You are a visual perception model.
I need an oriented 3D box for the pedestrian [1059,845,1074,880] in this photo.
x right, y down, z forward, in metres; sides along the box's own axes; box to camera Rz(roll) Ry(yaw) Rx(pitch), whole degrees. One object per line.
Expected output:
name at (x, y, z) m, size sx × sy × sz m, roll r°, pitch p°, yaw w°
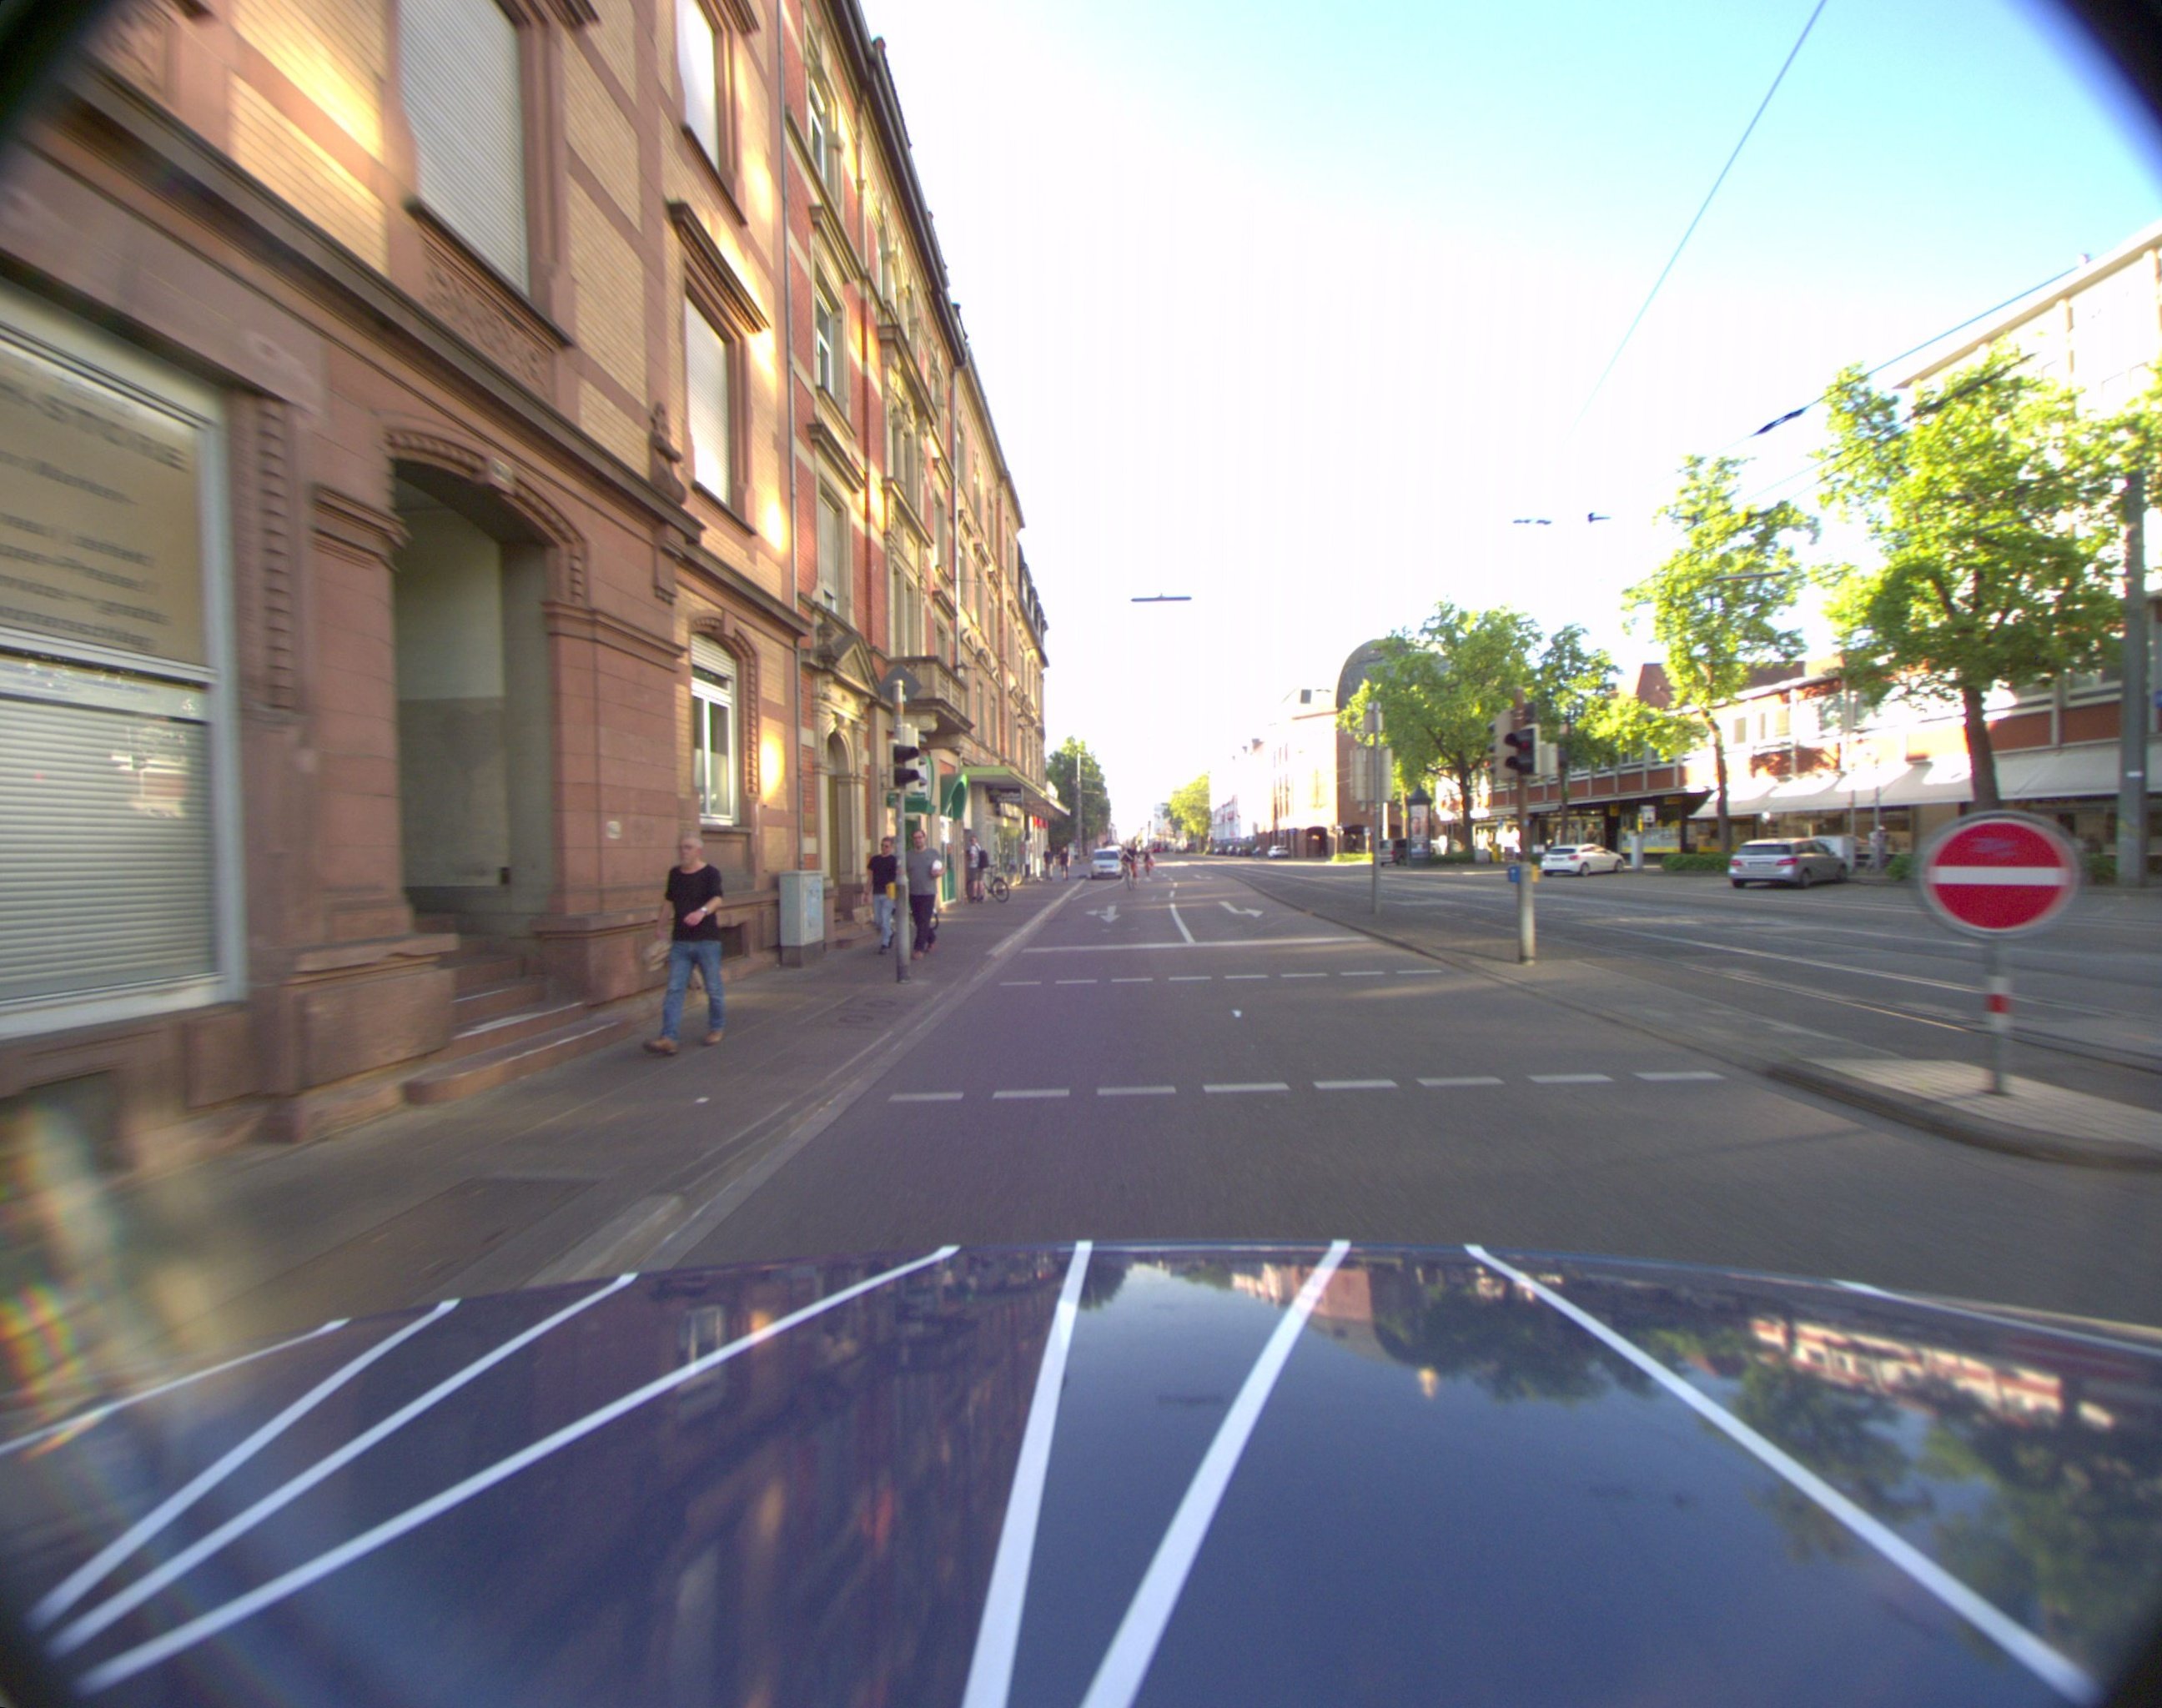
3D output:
pedestrian at (-0.719, 0.403, 37.632) m, size 0.700 × 1.713 × 0.502 m, roll 1°, pitch 1°, yaw 5°

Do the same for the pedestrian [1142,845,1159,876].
pedestrian at (3.837, 0.349, 41.870) m, size 0.849 × 1.652 × 0.850 m, roll -1°, pitch 1°, yaw 7°

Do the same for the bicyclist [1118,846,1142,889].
bicyclist at (1.958, 0.516, 29.996) m, size 0.885 × 1.651 × 0.804 m, roll -1°, pitch 1°, yaw 6°

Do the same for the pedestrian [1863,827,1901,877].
pedestrian at (28.636, -0.068, 27.189) m, size 0.635 × 1.759 × 0.769 m, roll 0°, pitch 2°, yaw 19°

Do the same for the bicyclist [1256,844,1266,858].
bicyclist at (18.906, -0.284, 79.737) m, size 0.674 × 1.414 × 0.761 m, roll -2°, pitch 2°, yaw -43°

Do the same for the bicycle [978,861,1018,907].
bicycle at (-2.499, 0.866, 22.671) m, size 0.669 × 1.246 × 1.891 m, roll -2°, pitch 1°, yaw -22°

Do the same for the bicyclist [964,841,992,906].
bicyclist at (-3.050, 0.564, 22.416) m, size 0.600 × 1.871 × 0.742 m, roll -2°, pitch 1°, yaw -22°

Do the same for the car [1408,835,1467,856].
car at (35.752, -0.875, 76.258) m, size 4.982 × 2.002 × 2.000 m, roll -1°, pitch 1°, yaw 1°

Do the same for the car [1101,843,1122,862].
car at (2.783, -0.155, 68.474) m, size 1.670 × 1.674 × 4.001 m, roll -1°, pitch 1°, yaw 5°

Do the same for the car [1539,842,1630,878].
car at (23.275, 0.259, 35.135) m, size 4.005 × 1.466 × 1.794 m, roll -3°, pitch 1°, yaw -28°

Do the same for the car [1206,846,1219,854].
car at (27.764, -0.873, 160.425) m, size 1.964 × 1.594 × 3.999 m, roll -2°, pitch 1°, yaw 1°

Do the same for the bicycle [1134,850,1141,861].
bicycle at (6.038, 0.168, 81.790) m, size 0.646 × 1.176 × 1.804 m, roll -1°, pitch 1°, yaw 1°

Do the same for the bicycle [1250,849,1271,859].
bicycle at (18.849, 0.007, 79.816) m, size 0.674 × 1.085 × 2.033 m, roll -2°, pitch 1°, yaw -43°

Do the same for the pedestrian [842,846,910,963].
pedestrian at (-3.088, 0.732, 11.501) m, size 0.777 × 1.713 × 0.754 m, roll 0°, pitch 1°, yaw 4°

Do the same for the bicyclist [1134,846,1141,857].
bicyclist at (6.090, -0.284, 81.621) m, size 0.646 × 1.176 × 0.723 m, roll -1°, pitch 1°, yaw 1°

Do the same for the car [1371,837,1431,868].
car at (22.825, -0.118, 54.100) m, size 4.006 × 1.953 × 1.907 m, roll -3°, pitch 1°, yaw -31°

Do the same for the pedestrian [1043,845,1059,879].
pedestrian at (-1.499, 0.397, 38.020) m, size 0.700 × 1.713 × 0.681 m, roll 1°, pitch 1°, yaw 5°

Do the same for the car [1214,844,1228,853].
car at (26.557, -1.144, 144.551) m, size 1.964 × 1.594 × 3.999 m, roll -2°, pitch 1°, yaw 1°

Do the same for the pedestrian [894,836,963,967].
pedestrian at (-2.252, 0.677, 11.305) m, size 0.823 × 1.883 × 0.754 m, roll 0°, pitch 1°, yaw 4°

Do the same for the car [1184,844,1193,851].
car at (28.450, -1.765, 201.577) m, size 1.964 × 1.594 × 3.999 m, roll -2°, pitch 1°, yaw 1°

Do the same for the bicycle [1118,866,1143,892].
bicycle at (1.968, 0.969, 29.997) m, size 0.885 × 0.949 × 1.766 m, roll -1°, pitch 1°, yaw 6°

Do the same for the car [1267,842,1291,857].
car at (24.003, -0.562, 92.095) m, size 1.910 × 1.594 × 3.999 m, roll -2°, pitch 1°, yaw 1°

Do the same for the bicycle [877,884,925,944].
bicycle at (-3.270, 1.073, 13.911) m, size 0.345 × 0.990 × 1.241 m, roll 1°, pitch 1°, yaw 12°

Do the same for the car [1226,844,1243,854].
car at (25.291, -0.832, 125.378) m, size 1.964 × 1.594 × 3.999 m, roll -2°, pitch 1°, yaw 1°

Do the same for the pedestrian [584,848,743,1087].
pedestrian at (-3.181, 0.817, 5.862) m, size 0.777 × 1.713 × 0.754 m, roll 0°, pitch 1°, yaw 4°

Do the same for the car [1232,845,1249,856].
car at (25.009, -0.559, 119.167) m, size 1.964 × 1.594 × 3.999 m, roll -2°, pitch 1°, yaw 1°

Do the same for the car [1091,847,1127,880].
car at (1.575, 0.502, 41.839) m, size 1.670 × 1.674 × 4.001 m, roll -1°, pitch 1°, yaw 6°

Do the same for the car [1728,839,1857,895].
car at (22.867, 0.365, 24.404) m, size 4.005 × 1.545 × 1.794 m, roll -3°, pitch 1°, yaw -28°
